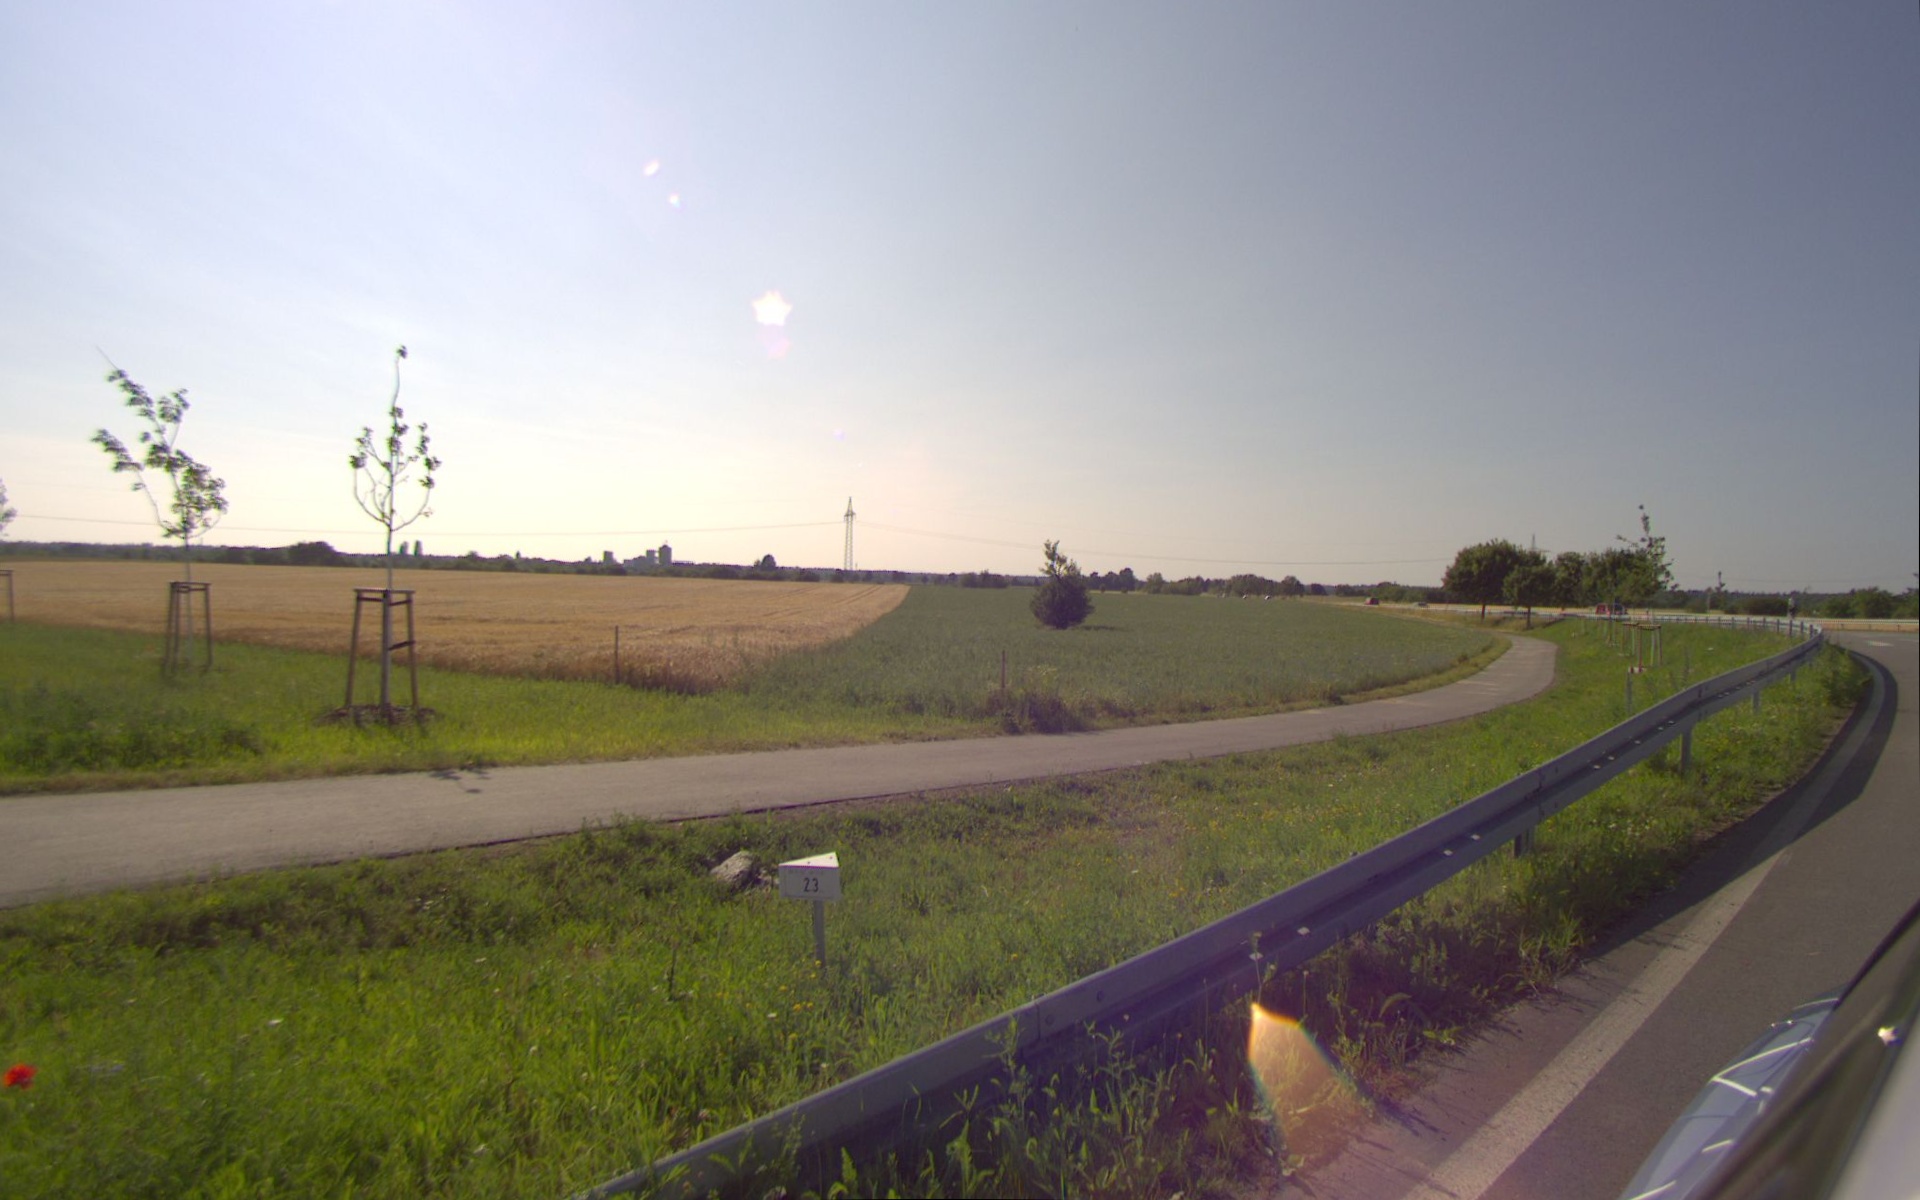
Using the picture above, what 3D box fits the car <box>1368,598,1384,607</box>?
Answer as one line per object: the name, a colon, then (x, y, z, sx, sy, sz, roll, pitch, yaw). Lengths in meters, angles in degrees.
car: (81.548, 0.409, 198.335, 1.782, 1.694, 3.996, 0, 0, 4)
